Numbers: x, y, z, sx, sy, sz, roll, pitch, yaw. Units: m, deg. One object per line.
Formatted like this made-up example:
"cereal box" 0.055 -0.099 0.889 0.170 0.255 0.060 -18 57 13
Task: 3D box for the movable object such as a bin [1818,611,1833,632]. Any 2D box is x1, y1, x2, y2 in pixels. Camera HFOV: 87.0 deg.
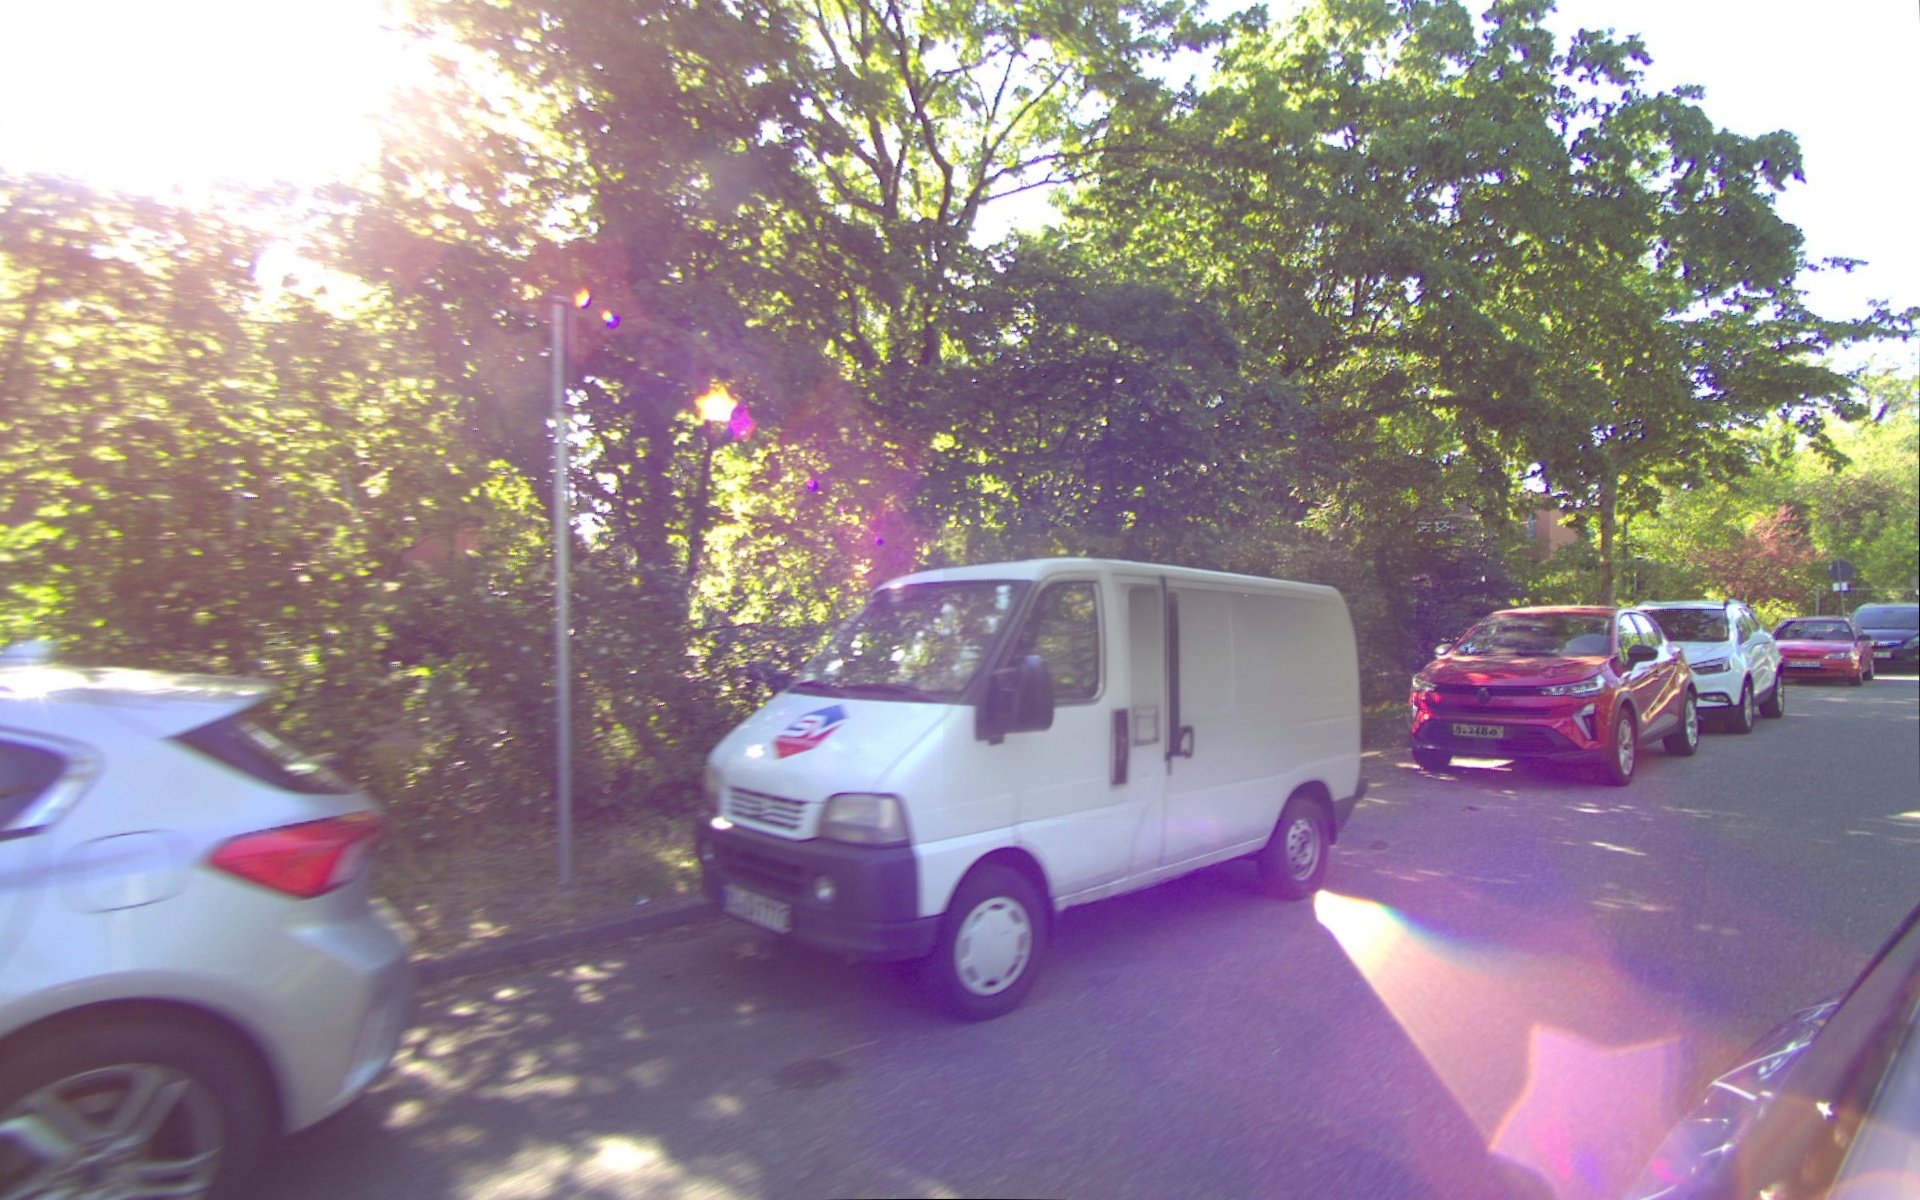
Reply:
"movable object such as a bin" 37.918 0.933 44.350 0.516 0.881 0.419 0 1 -42

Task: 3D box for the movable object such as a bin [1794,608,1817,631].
"movable object such as a bin" 37.490 0.857 44.875 0.683 0.940 0.695 0 1 -42

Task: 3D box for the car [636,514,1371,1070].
"car" 0.436 0.640 5.113 3.606 1.796 1.624 0 -2 -43

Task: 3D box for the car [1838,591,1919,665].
"car" 23.144 0.648 24.681 4.340 1.672 1.814 0 -2 -39

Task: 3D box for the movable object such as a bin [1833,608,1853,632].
"movable object such as a bin" 38.383 0.860 43.984 0.598 1.012 0.563 0 1 -42

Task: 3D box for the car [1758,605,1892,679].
"car" 18.306 0.832 21.351 4.085 1.393 1.663 0 -2 -43

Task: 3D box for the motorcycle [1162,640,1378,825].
"motorcycle" 2.467 0.950 7.915 2.000 1.211 0.648 0 -1 -41

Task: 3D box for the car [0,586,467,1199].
"car" -3.378 0.761 1.887 4.135 1.532 1.693 0 -2 -43

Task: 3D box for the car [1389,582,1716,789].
"car" 6.036 0.709 10.109 3.997 1.642 1.776 0 -2 -44

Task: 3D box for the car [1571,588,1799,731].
"car" 9.881 0.707 13.675 3.997 1.642 1.776 0 -2 -44
